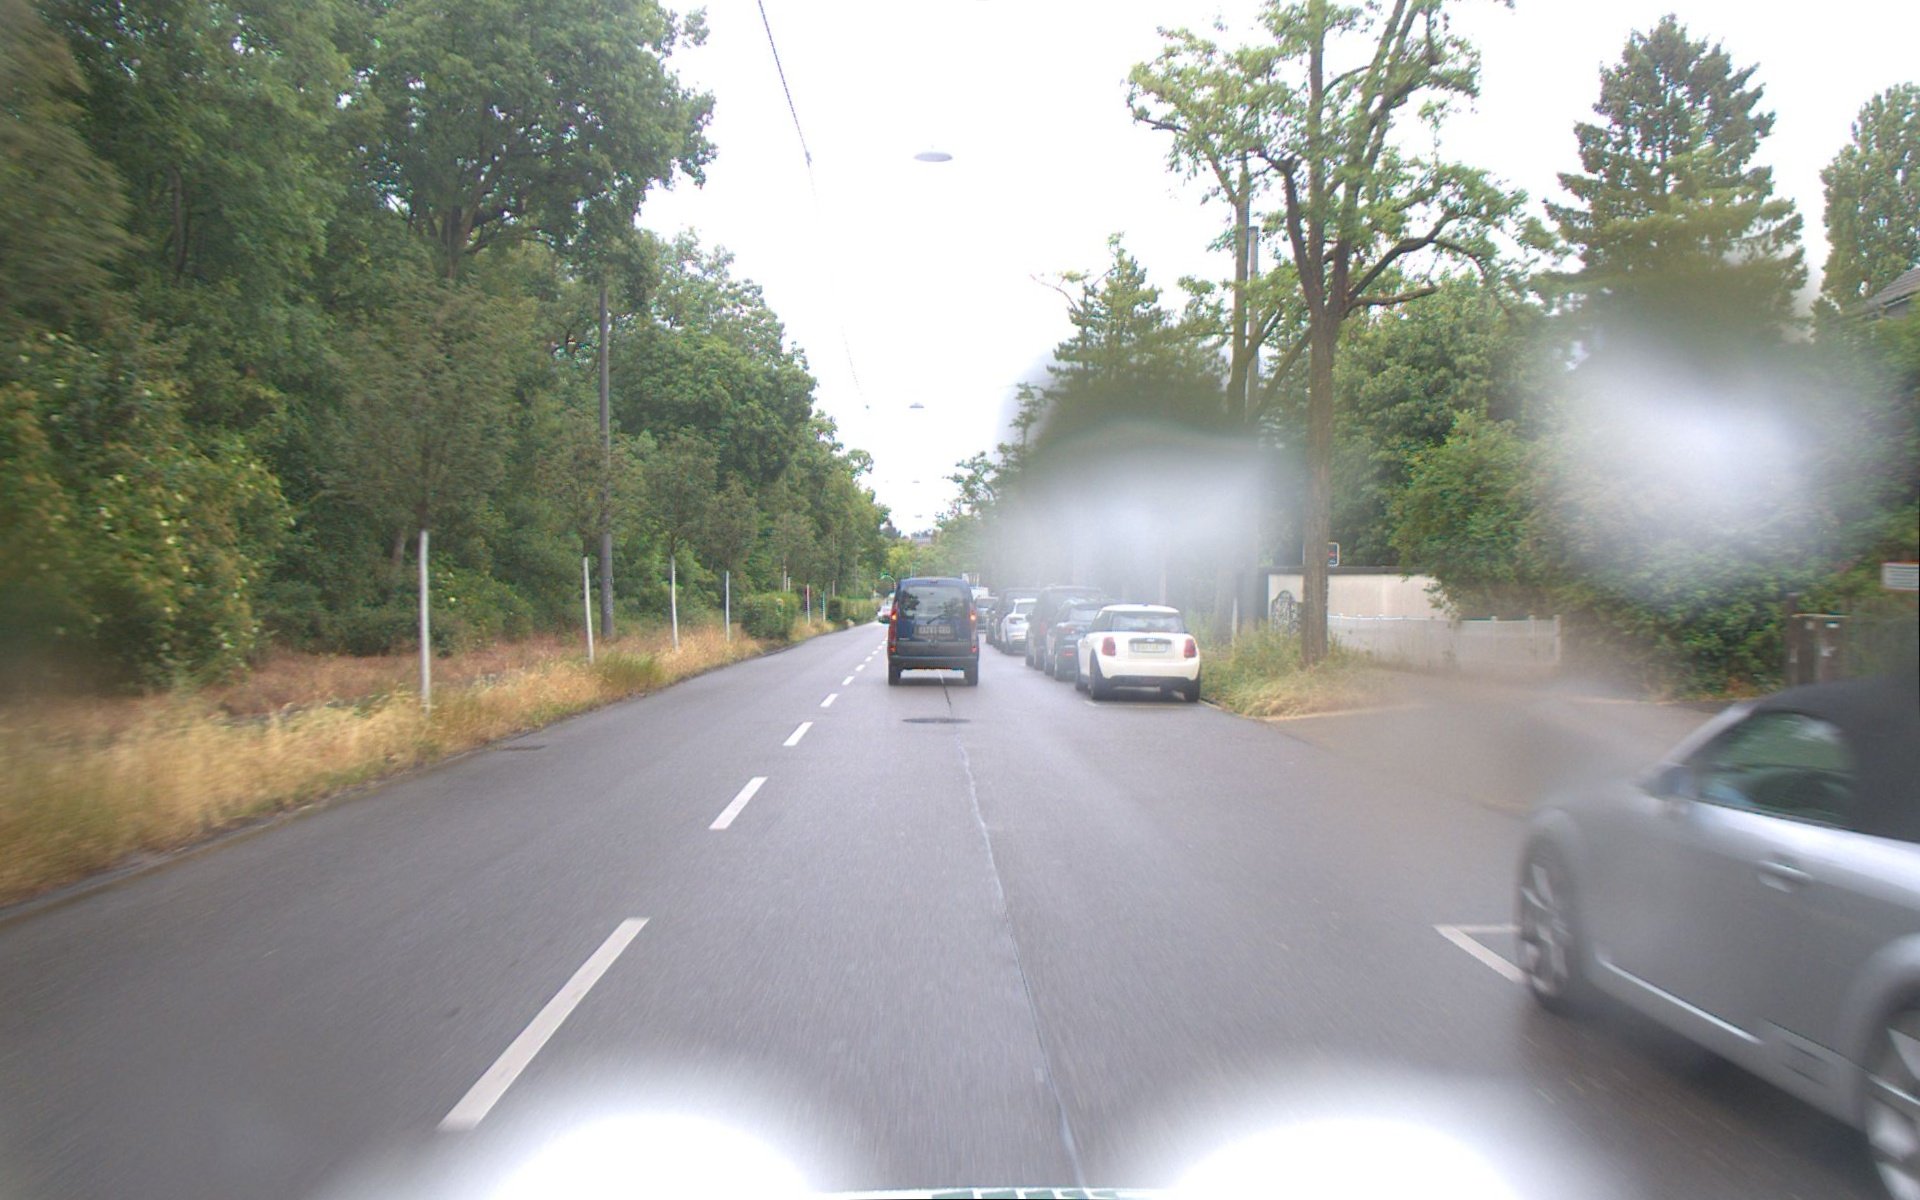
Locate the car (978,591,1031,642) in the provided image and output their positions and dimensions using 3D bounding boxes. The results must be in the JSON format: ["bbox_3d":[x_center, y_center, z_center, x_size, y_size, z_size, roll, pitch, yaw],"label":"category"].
[{"bbox_3d":[1.626,0.577,61.342,1.737,1.753,4.326,1,0,-1],"label":"car"}]

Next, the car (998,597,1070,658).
[{"bbox_3d":[2.119,0.763,48.377,1.768,1.641,4.285,1,0,-2],"label":"car"}]

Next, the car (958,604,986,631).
[{"bbox_3d":[0.729,1.009,97.933,1.592,1.489,3.808,1,0,2],"label":"car"}]

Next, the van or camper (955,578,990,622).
[{"bbox_3d":[0.772,-0.049,105.779,2.036,2.697,5.344,1,0,-1],"label":"van or camper"}]

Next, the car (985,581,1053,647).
[{"bbox_3d":[1.906,0.429,54.829,1.953,2.049,4.887,1,0,-1],"label":"car"}]

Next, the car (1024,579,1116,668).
[{"bbox_3d":[2.453,0.490,37.822,1.695,1.879,4.229,1,0,-1],"label":"car"}]

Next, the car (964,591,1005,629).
[{"bbox_3d":[1.242,0.480,85.016,1.778,1.845,4.280,1,0,-3],"label":"car"}]

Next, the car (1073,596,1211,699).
[{"bbox_3d":[2.857,0.710,26.689,1.702,1.490,3.724,1,0,-1],"label":"car"}]

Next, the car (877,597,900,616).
[{"bbox_3d":[-6.040,0.552,140.665,1.822,1.506,4.155,-1,0,-1],"label":"car"}]

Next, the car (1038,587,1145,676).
[{"bbox_3d":[2.521,0.563,32.512,1.645,1.583,4.074,1,0,-1],"label":"car"}]

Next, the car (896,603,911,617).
[{"bbox_3d":[-6.671,1.165,194.753,1.747,1.505,3.966,-1,-1,-2],"label":"car"}]

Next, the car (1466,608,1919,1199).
[{"bbox_3d":[3.111,0.784,5.041,1.746,1.419,3.998,1,0,-3],"label":"car"}]

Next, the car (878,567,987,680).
[{"bbox_3d":[-0.545,0.383,29.643,1.732,1.862,3.539,1,0,-4],"label":"car"}]
